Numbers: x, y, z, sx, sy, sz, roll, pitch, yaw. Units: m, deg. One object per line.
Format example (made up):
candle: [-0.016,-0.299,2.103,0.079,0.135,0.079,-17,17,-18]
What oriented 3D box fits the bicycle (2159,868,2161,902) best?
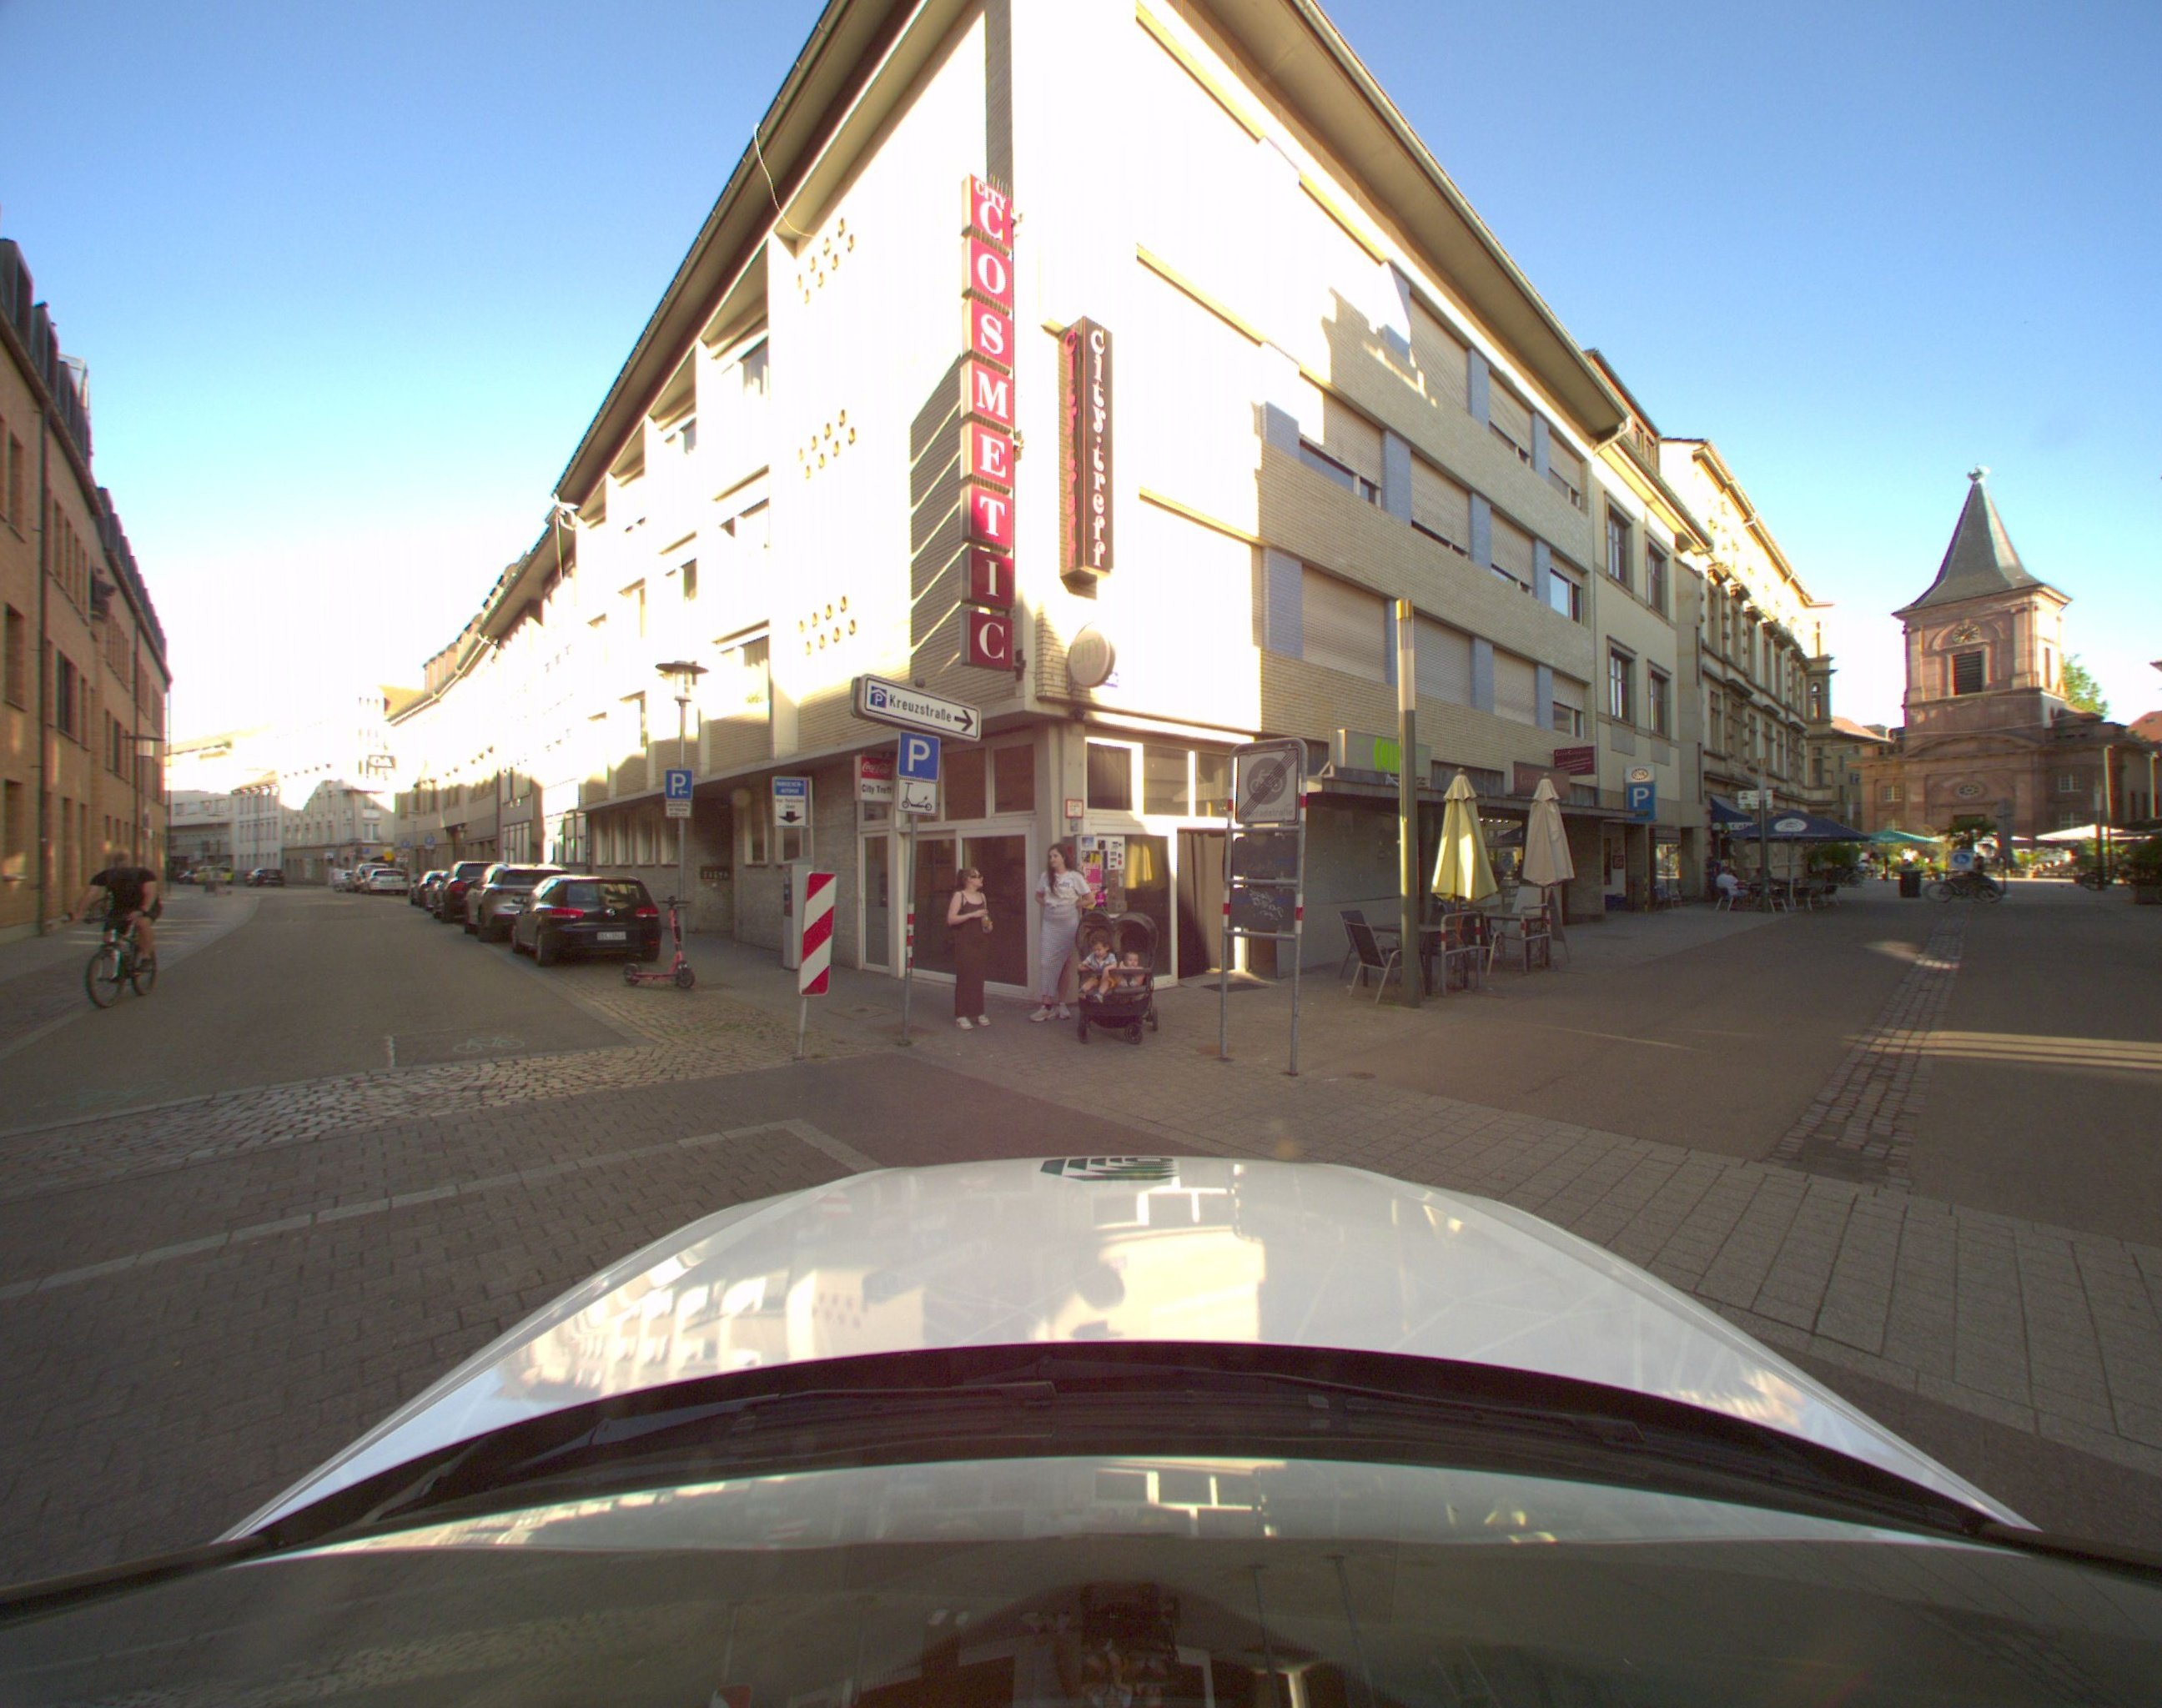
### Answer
bicycle: [32.914,0.914,23.940,0.575,1.005,1.452,0,-1,-34]

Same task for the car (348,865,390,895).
car: [-44.515,1.620,50.881,1.703,1.776,3.610,3,-3,-44]

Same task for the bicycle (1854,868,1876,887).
bicycle: [37.220,1.116,38.641,2.156,0.850,0.453,0,-1,-38]

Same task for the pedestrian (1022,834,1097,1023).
pedestrian: [-0.210,0.726,8.274,0.656,1.819,0.570,-3,0,-1]

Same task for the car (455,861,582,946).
car: [-12.405,1.026,17.863,1.683,1.661,4.031,3,-3,-42]

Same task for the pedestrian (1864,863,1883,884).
pedestrian: [47.563,1.166,48.880,0.722,1.218,0.695,0,-1,-36]

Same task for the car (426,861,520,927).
car: [-17.323,1.102,23.123,1.683,1.705,3.964,3,-3,-42]

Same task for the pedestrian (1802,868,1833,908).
pedestrian: [23.116,1.061,25.584,0.685,1.215,0.587,-1,-1,41]

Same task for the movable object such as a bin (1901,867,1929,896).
movable object such as a bin: [31.664,1.034,30.919,0.376,1.074,0.715,0,-1,-43]

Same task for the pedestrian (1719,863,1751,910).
pedestrian: [19.446,0.959,24.229,0.701,1.368,0.724,-1,-1,37]

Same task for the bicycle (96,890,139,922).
bicycle: [-29.832,1.596,25.244,2.525,0.881,0.647,-1,-2,45]

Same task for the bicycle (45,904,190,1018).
bicycle: [-11.478,1.216,9.773,0.708,1.103,1.807,-4,2,-38]

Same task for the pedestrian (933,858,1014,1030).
pedestrian: [-1.050,0.845,7.950,0.536,1.579,0.505,-3,1,-36]

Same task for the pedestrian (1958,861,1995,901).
pedestrian: [33.656,0.990,30.609,0.734,1.464,0.876,0,-1,-41]

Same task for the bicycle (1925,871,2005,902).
bicycle: [30.089,1.103,27.753,0.383,1.005,1.807,1,-1,-44]

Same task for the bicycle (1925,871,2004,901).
bicycle: [30.371,1.079,28.026,0.383,1.005,1.807,1,-1,-44]

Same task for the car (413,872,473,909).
car: [-25.091,1.414,31.989,1.529,1.391,3.581,3,-3,-42]

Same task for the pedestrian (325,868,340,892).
pedestrian: [-46.574,1.593,50.657,0.468,1.479,0.575,-1,-4,40]

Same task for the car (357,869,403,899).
car: [-40.375,1.722,46.870,1.703,1.679,3.464,3,-3,-44]

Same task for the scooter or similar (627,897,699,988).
scooter or similar: [-5.572,1.170,10.857,0.875,1.184,0.209,-1,-1,7]

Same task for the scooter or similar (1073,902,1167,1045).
scooter or similar: [0.338,1.049,7.434,0.794,1.144,0.954,-1,0,0]

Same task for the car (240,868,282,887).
car: [-73.354,2.081,72.876,3.787,1.651,1.948,-1,-1,34]

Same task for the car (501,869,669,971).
car: [-8.709,1.052,14.162,1.750,1.486,3.765,3,-2,-42]

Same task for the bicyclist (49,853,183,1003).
bicyclist: [-11.491,0.833,9.737,0.777,1.655,0.946,-3,1,-37]

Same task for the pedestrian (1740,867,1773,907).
pedestrian: [21.560,1.043,25.992,0.757,1.233,0.836,-1,-1,41]

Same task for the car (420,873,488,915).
car: [-21.920,1.361,28.426,1.529,1.391,3.581,3,-3,-42]

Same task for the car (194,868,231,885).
car: [-86.947,2.272,81.526,3.787,1.651,1.948,-1,-2,34]

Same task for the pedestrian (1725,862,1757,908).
pedestrian: [20.226,0.938,24.955,0.710,1.368,0.715,-1,-1,37]
